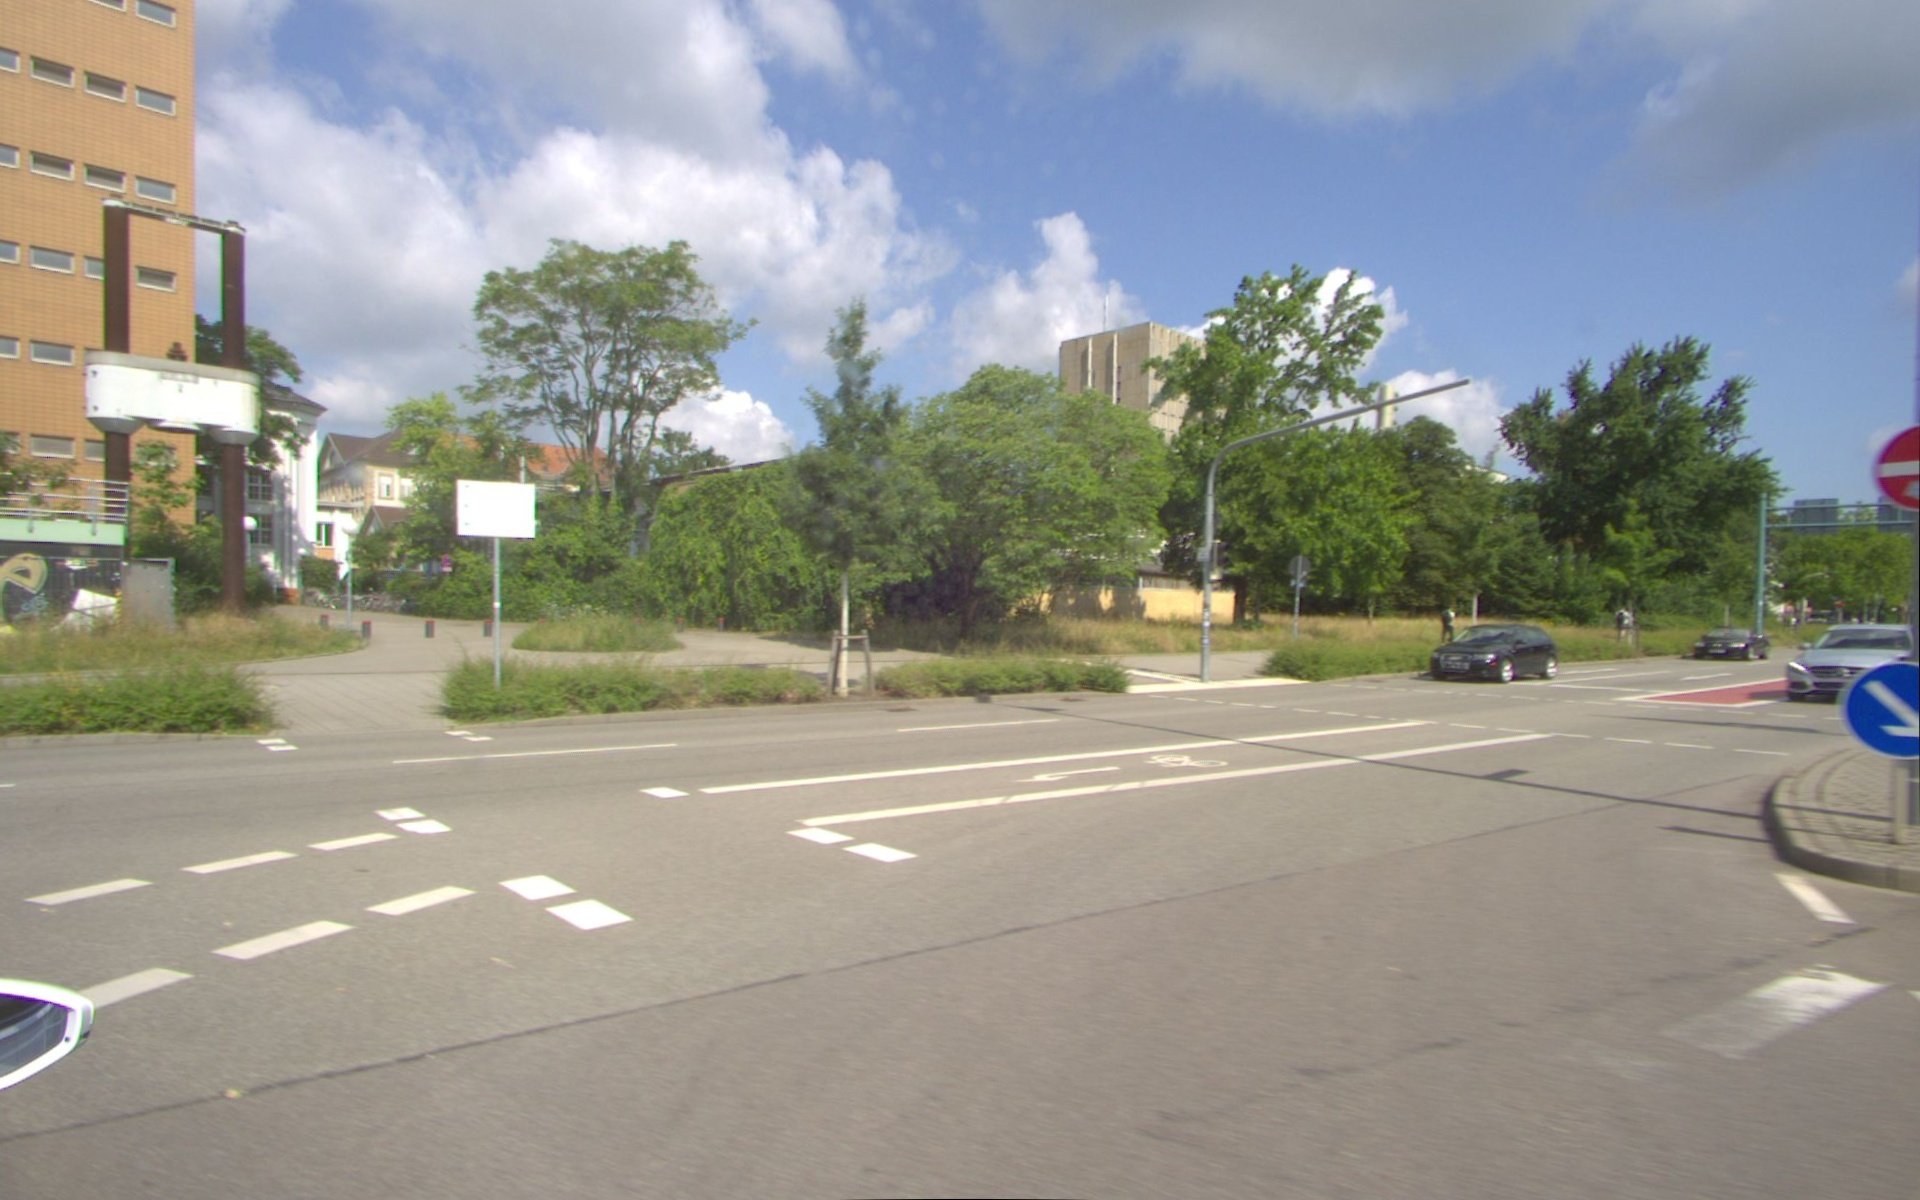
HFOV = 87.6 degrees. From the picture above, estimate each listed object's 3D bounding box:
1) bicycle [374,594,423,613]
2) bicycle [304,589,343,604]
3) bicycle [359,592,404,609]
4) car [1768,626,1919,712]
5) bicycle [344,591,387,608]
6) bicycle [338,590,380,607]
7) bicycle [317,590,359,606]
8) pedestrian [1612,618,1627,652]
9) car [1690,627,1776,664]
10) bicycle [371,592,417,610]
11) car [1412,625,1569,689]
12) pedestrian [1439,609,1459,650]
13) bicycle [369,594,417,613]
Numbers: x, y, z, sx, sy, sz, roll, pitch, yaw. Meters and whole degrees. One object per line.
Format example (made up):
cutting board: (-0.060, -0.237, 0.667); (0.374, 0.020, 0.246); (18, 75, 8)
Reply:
bicycle: (-28.705, 0.164, 51.200); (2.041, 0.949, 0.796); (1, 0, -44)
bicycle: (-41.184, -0.234, 64.777); (2.041, 0.949, 0.796); (1, 0, -44)
bicycle: (-32.097, 0.025, 55.581); (2.041, 0.949, 0.796); (1, 0, -44)
car: (17.705, 1.251, 19.526); (4.724, 1.460, 2.046); (1, -2, -38)
bicycle: (-34.435, -0.041, 58.025); (2.041, 0.949, 0.796); (1, 0, -44)
bicycle: (-35.224, -0.065, 58.698); (2.041, 0.949, 0.796); (1, 0, -44)
bicycle: (-38.010, -0.126, 61.213); (2.041, 0.949, 0.796); (1, 0, -44)
pedestrian: (35.421, 1.878, 53.787); (0.536, 1.791, 0.520); (2, 0, 44)
car: (30.362, 1.763, 39.294); (3.954, 1.290, 1.783); (0, 1, -39)
bicycle: (-30.961, 0.066, 54.811); (2.041, 0.949, 0.796); (1, 0, -44)
car: (13.371, 1.361, 25.170); (4.112, 1.396, 1.983); (1, 1, -38)
pedestrian: (19.653, 1.174, 40.239); (0.536, 1.628, 0.520); (2, -1, 44)
bicycle: (-29.672, 0.176, 52.431); (2.041, 0.949, 0.796); (1, 0, -44)
